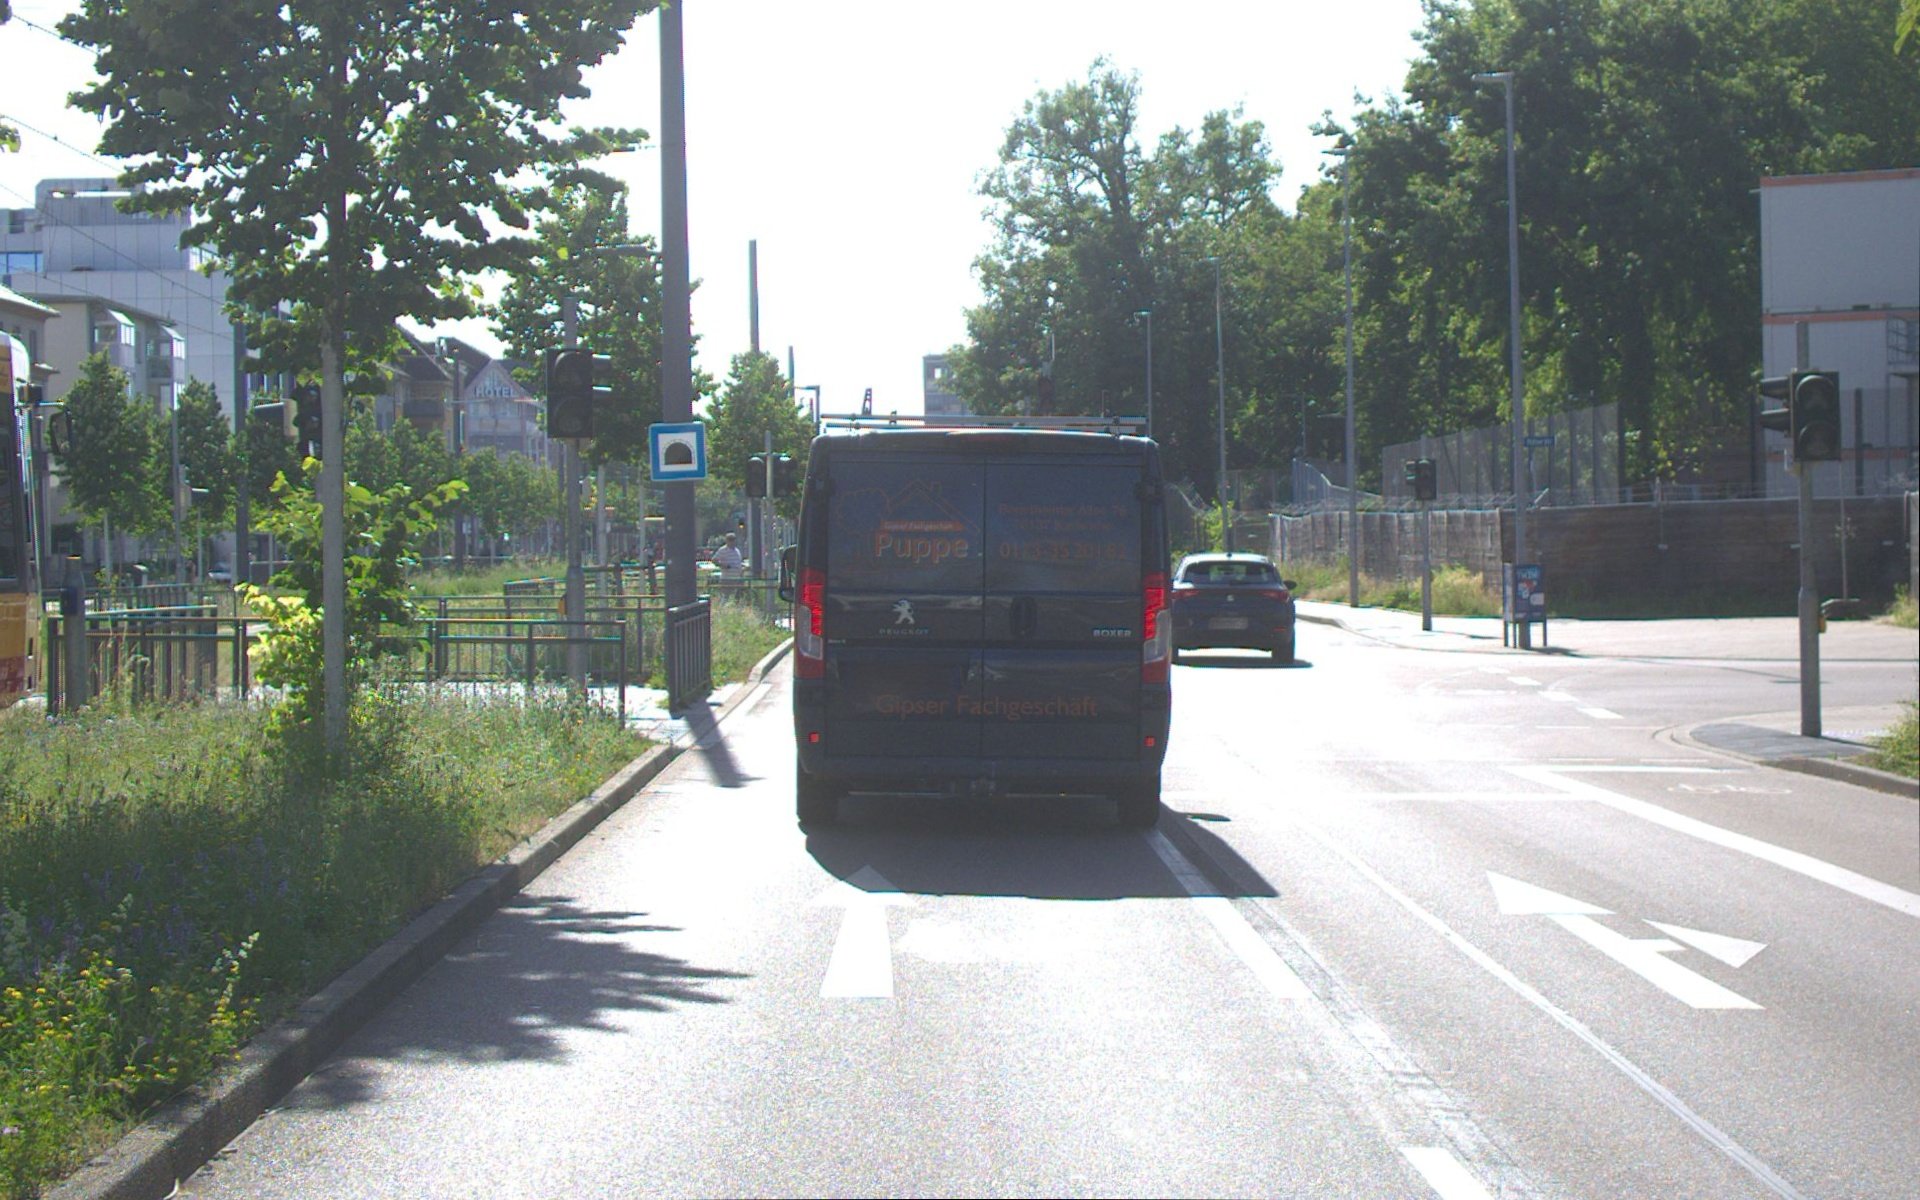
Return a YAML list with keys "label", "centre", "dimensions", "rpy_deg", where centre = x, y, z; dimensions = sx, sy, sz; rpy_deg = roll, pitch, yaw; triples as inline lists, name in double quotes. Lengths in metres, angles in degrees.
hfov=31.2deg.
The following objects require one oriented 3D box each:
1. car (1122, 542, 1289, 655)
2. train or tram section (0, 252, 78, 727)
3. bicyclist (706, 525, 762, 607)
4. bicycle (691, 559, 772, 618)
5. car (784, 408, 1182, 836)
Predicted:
- label: "car"
  centre: [3.252, -0.047, 46.195]
  dimensions: [1.763, 1.457, 4.001]
  rpy_deg: [0, 1, -3]
- label: "train or tram section"
  centre: [-8.340, -0.803, 23.114]
  dimensions: [1.993, 3.656, 11.684]
  rpy_deg: [0, 1, -1]
- label: "bicyclist"
  centre: [-4.225, -0.639, 64.240]
  dimensions: [0.826, 1.507, 0.730]
  rpy_deg: [0, 1, -26]
- label: "bicycle"
  centre: [-4.289, -0.222, 64.355]
  dimensions: [0.732, 1.087, 2.083]
  rpy_deg: [0, 1, -27]
- label: "car"
  centre: [0.065, 0.086, 20.030]
  dimensions: [2.082, 2.241, 4.000]
  rpy_deg: [0, 1, -2]
